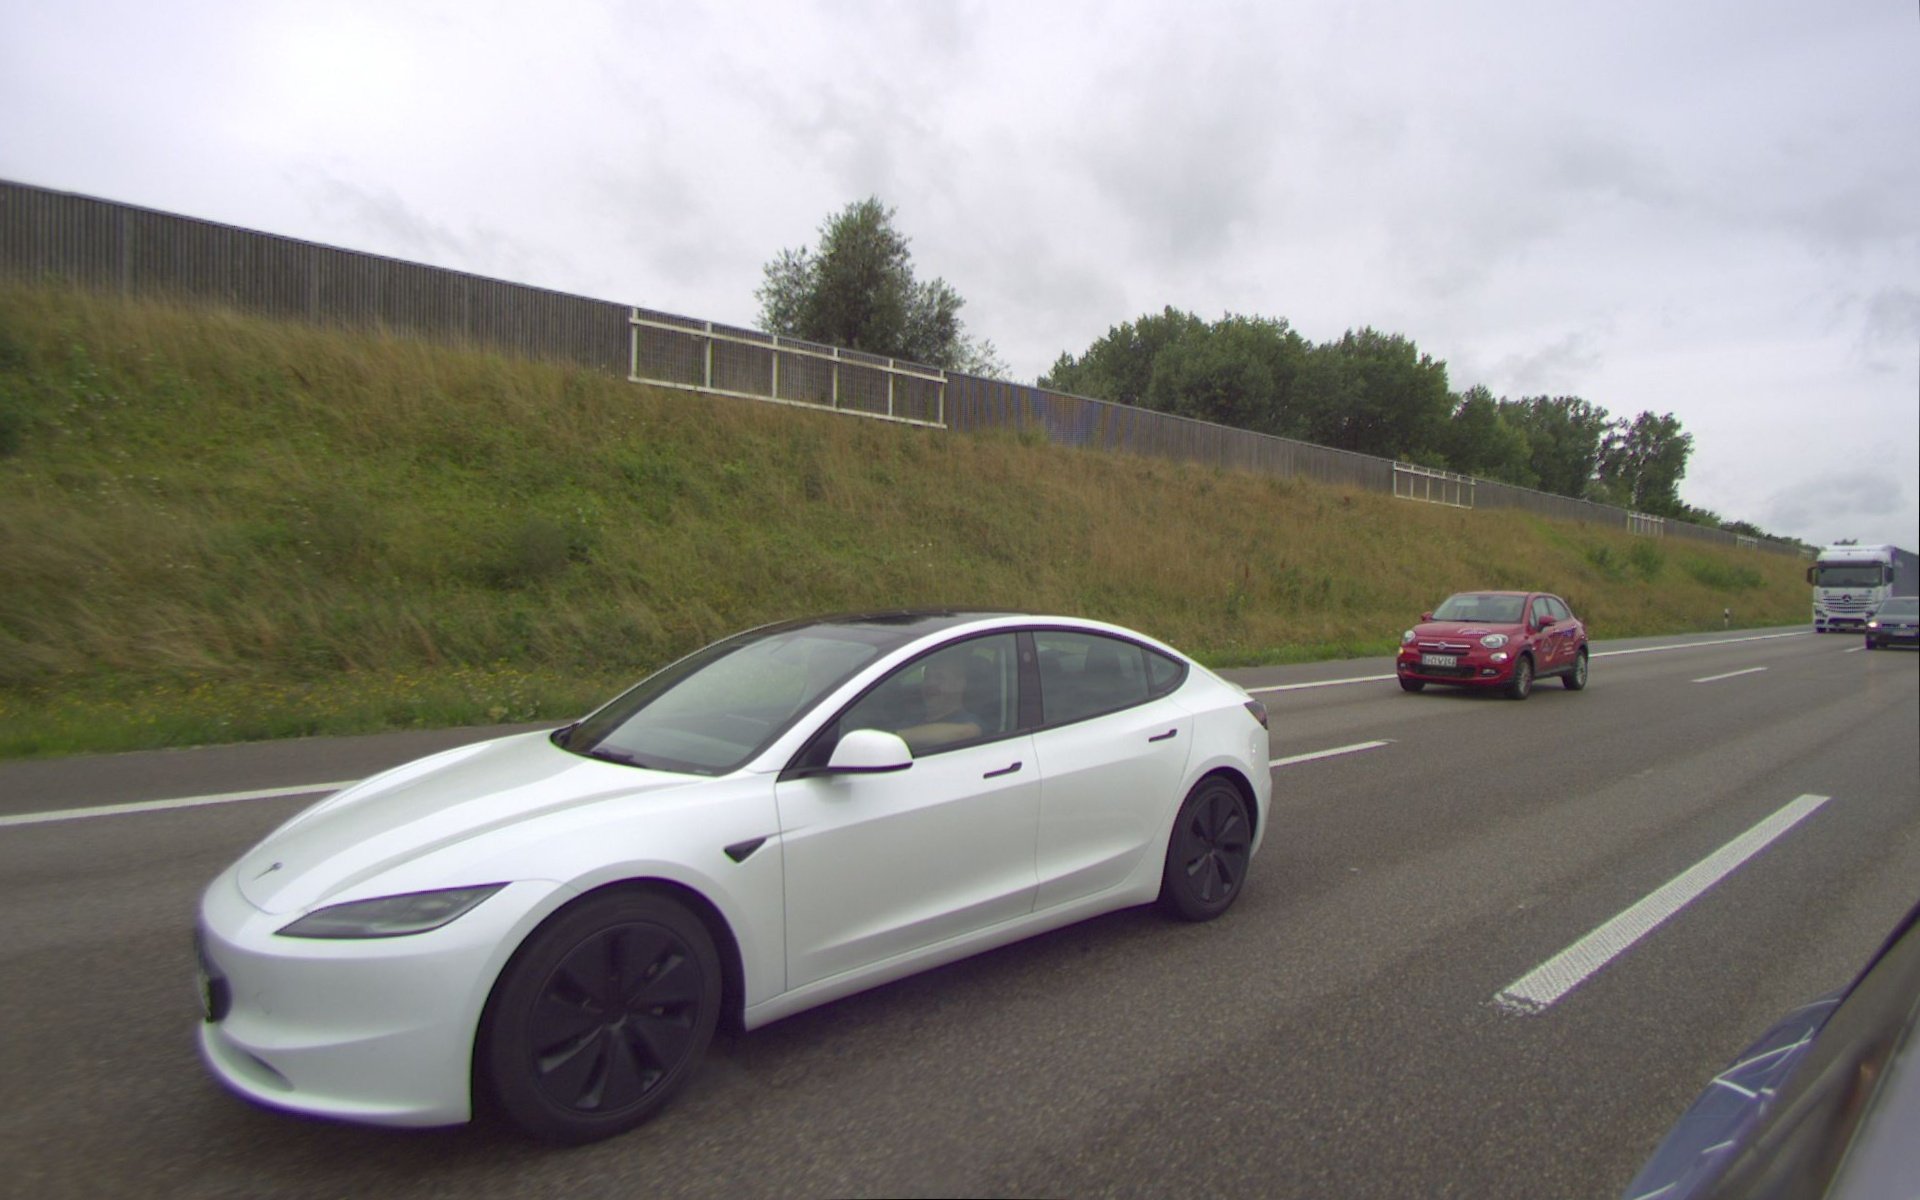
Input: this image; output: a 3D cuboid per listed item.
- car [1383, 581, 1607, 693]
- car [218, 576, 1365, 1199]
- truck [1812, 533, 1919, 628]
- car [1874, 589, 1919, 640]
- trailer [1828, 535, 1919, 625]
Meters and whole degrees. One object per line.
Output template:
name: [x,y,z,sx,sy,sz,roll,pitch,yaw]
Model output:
car: [8.532,0.491,16.023,3.931,1.554,1.876,-1,1,-41]
car: [-0.281,0.610,4.469,4.728,1.380,1.877,-1,1,-40]
truck: [41.994,-0.884,46.731,6.836,4.077,3.086,-1,0,-41]
car: [29.813,0.407,31.171,4.407,1.507,1.928,-1,1,-41]
trailer: [47.934,-1.004,51.996,14.959,4.077,3.086,-1,0,-42]
